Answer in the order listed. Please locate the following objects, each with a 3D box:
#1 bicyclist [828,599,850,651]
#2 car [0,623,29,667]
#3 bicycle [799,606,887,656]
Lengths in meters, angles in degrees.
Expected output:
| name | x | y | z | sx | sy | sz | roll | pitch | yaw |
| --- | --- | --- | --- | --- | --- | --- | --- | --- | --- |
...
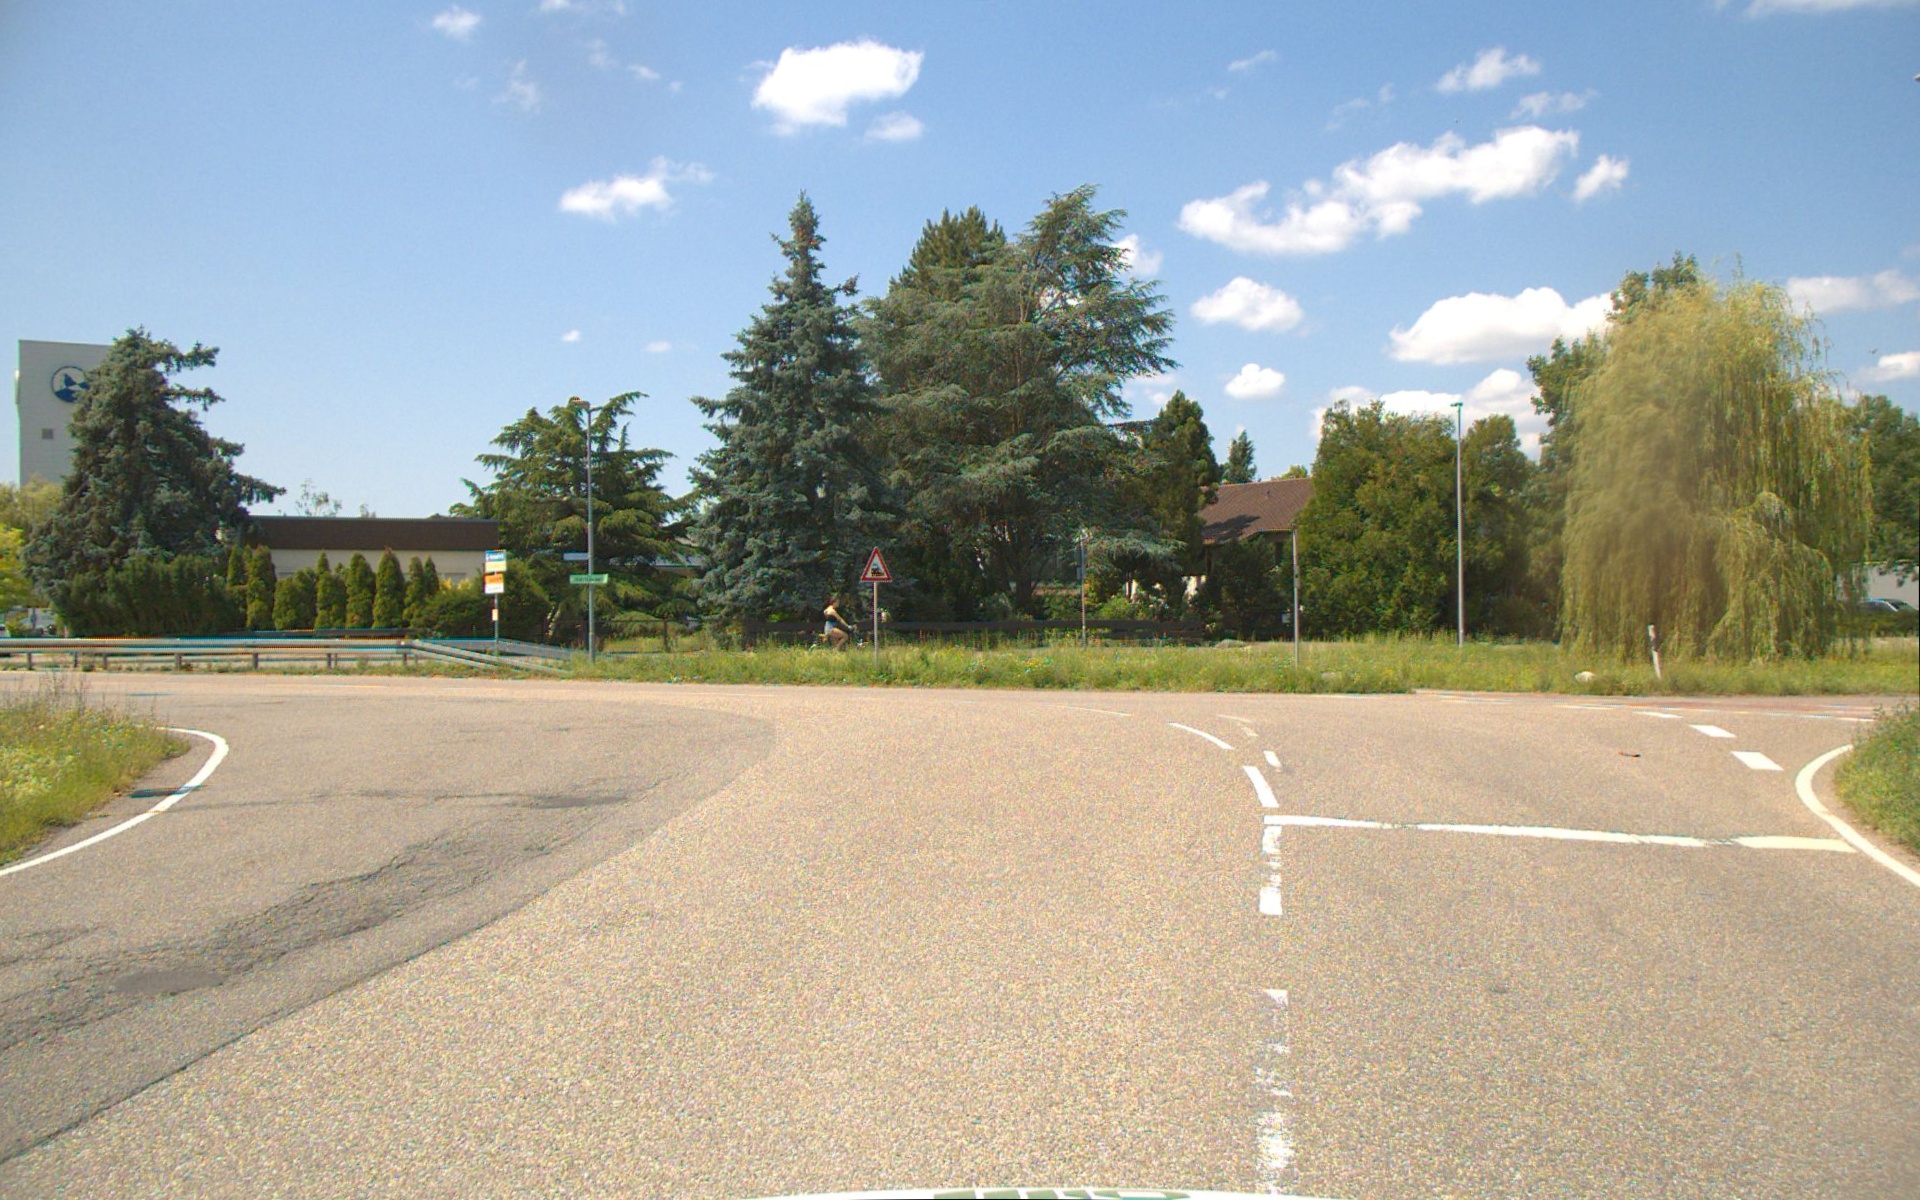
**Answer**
| name | x | y | z | sx | sy | sz | roll | pitch | yaw |
| --- | --- | --- | --- | --- | --- | --- | --- | --- | --- |
| bicyclist | -2.981 | 0.606 | 40.648 | 0.500 | 1.277 | 0.468 | 0 | -1 | -10 |
| car | -35.873 | 1.648 | 61.363 | 1.976 | 1.536 | 4.401 | -1 | 0 | -34 |
| bicycle | -2.889 | 0.761 | 40.695 | 2.101 | 1.185 | 0.659 | 0 | 0 | -11 |
